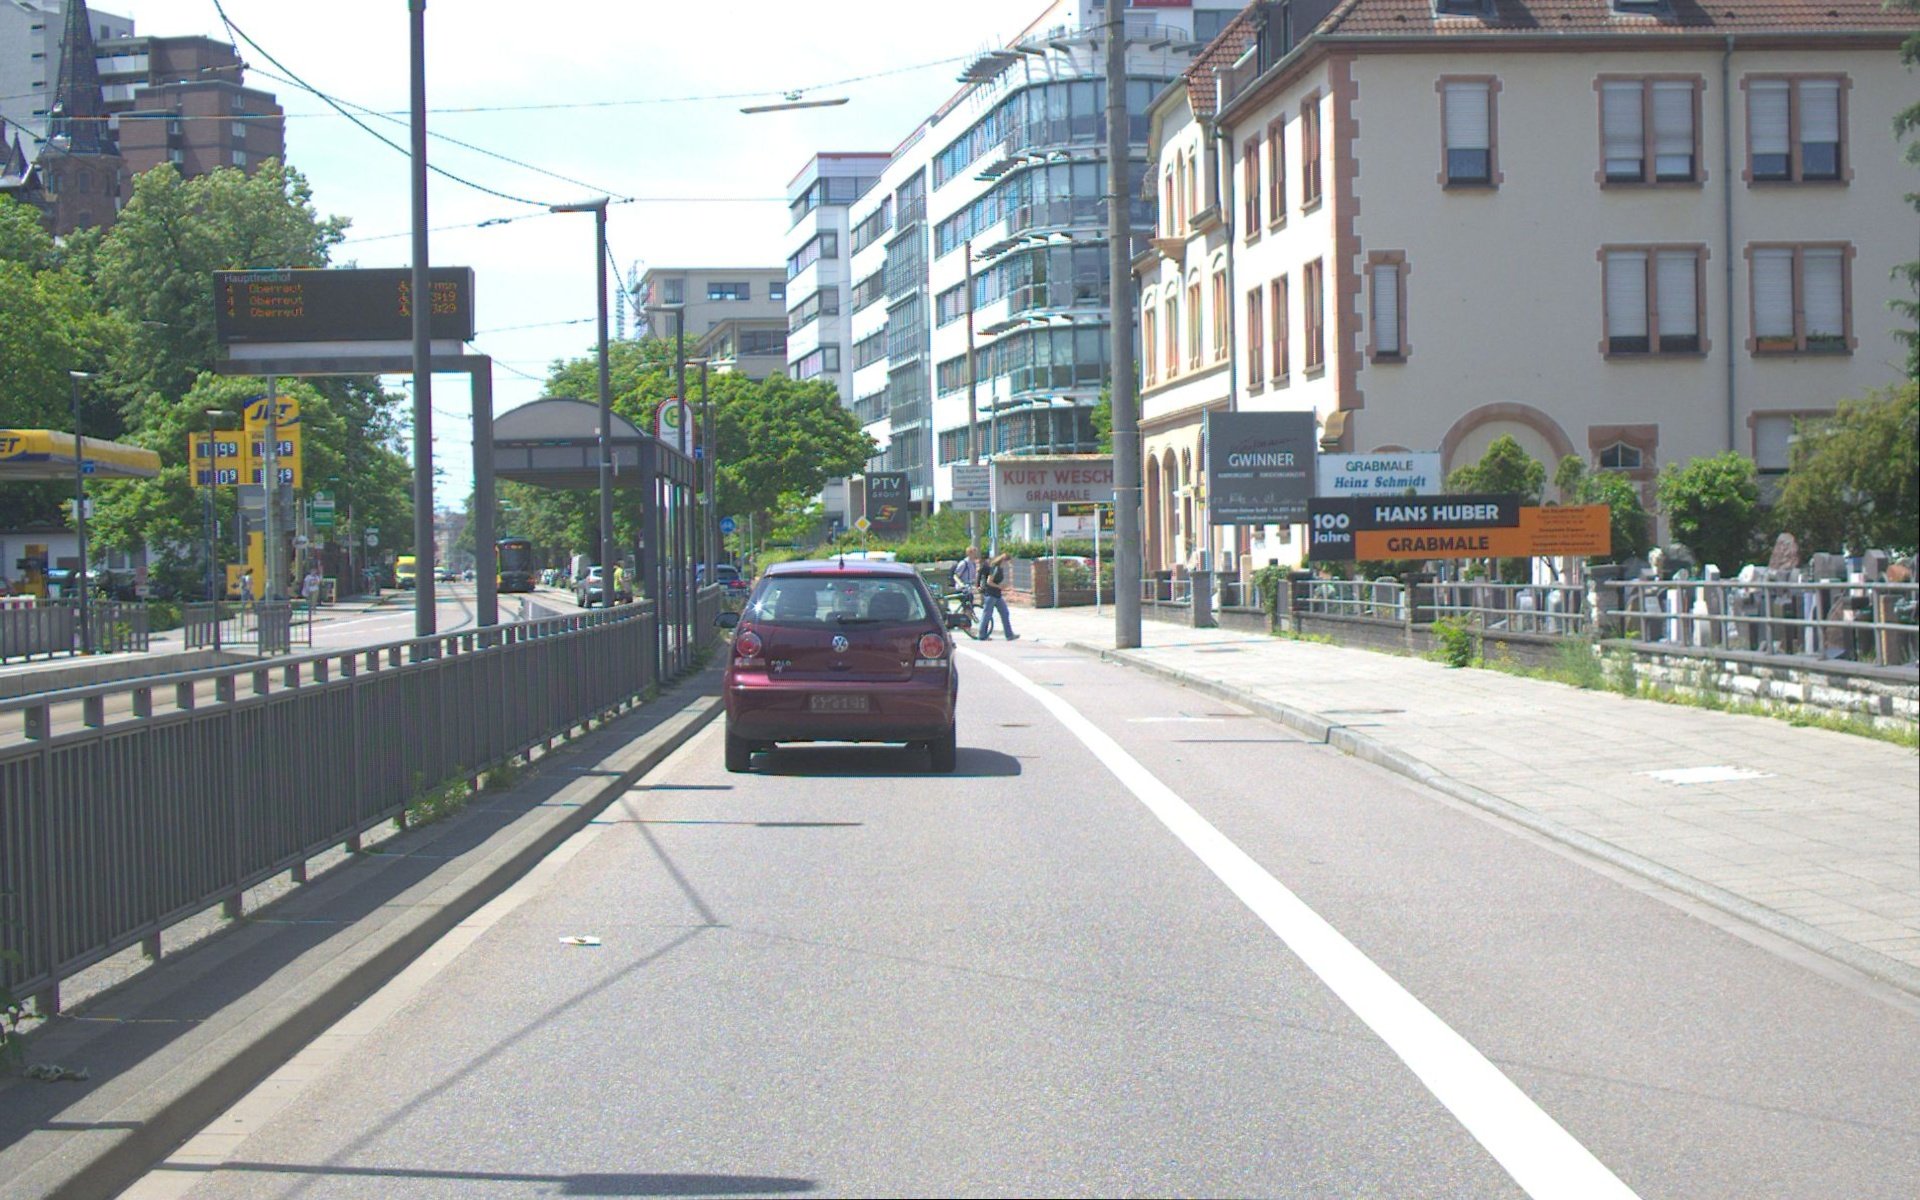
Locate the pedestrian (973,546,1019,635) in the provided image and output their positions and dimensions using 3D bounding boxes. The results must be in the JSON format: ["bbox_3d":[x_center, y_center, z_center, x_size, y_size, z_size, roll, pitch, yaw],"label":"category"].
[{"bbox_3d":[0.690,-0.180,65.662,0.824,1.685,0.589,0,0,7],"label":"pedestrian"}]

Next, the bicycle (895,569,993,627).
[{"bbox_3d":[-0.315,-0.035,67.115,1.804,1.123,0.589,0,1,21],"label":"bicycle"}]

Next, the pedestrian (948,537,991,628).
[{"bbox_3d":[0.184,-0.349,67.439,0.688,1.766,0.503,0,1,21],"label":"pedestrian"}]

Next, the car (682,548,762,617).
[{"bbox_3d":[-7.152,-0.538,103.001,1.993,2.007,4.001,1,1,-9],"label":"car"}]

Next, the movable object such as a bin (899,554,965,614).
[{"bbox_3d":[-0.705,-0.408,86.752,1.391,1.450,1.139,-3,1,-12],"label":"movable object such as a bin"}]

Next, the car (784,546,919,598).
[{"bbox_3d":[-3.805,-0.976,120.002,4.537,1.793,2.000,0,1,-8],"label":"car"}]

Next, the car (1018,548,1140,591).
[{"bbox_3d":[4.207,-1.095,122.104,4.148,1.454,1.818,-1,1,-5],"label":"car"}]

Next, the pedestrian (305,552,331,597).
[{"bbox_3d":[-23.847,-0.949,127.753,0.722,1.685,0.625,0,1,44],"label":"pedestrian"}]

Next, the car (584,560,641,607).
[{"bbox_3d":[-13.406,-0.643,132.535,1.993,1.733,4.001,-1,1,-8],"label":"car"}]

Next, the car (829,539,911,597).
[{"bbox_3d":[-2.587,-0.895,97.895,1.772,1.543,4.468,-2,0,-8],"label":"car"}]

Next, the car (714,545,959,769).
[{"bbox_3d":[-0.850,0.360,25.052,1.619,1.481,4.000,1,1,-1],"label":"car"}]

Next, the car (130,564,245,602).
[{"bbox_3d":[-31.068,-0.673,138.344,1.932,1.483,4.443,1,1,31],"label":"car"}]

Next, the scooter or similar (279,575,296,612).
[{"bbox_3d":[-22.030,-0.222,112.643,0.518,1.196,1.377,1,0,-11],"label":"scooter or similar"}]
